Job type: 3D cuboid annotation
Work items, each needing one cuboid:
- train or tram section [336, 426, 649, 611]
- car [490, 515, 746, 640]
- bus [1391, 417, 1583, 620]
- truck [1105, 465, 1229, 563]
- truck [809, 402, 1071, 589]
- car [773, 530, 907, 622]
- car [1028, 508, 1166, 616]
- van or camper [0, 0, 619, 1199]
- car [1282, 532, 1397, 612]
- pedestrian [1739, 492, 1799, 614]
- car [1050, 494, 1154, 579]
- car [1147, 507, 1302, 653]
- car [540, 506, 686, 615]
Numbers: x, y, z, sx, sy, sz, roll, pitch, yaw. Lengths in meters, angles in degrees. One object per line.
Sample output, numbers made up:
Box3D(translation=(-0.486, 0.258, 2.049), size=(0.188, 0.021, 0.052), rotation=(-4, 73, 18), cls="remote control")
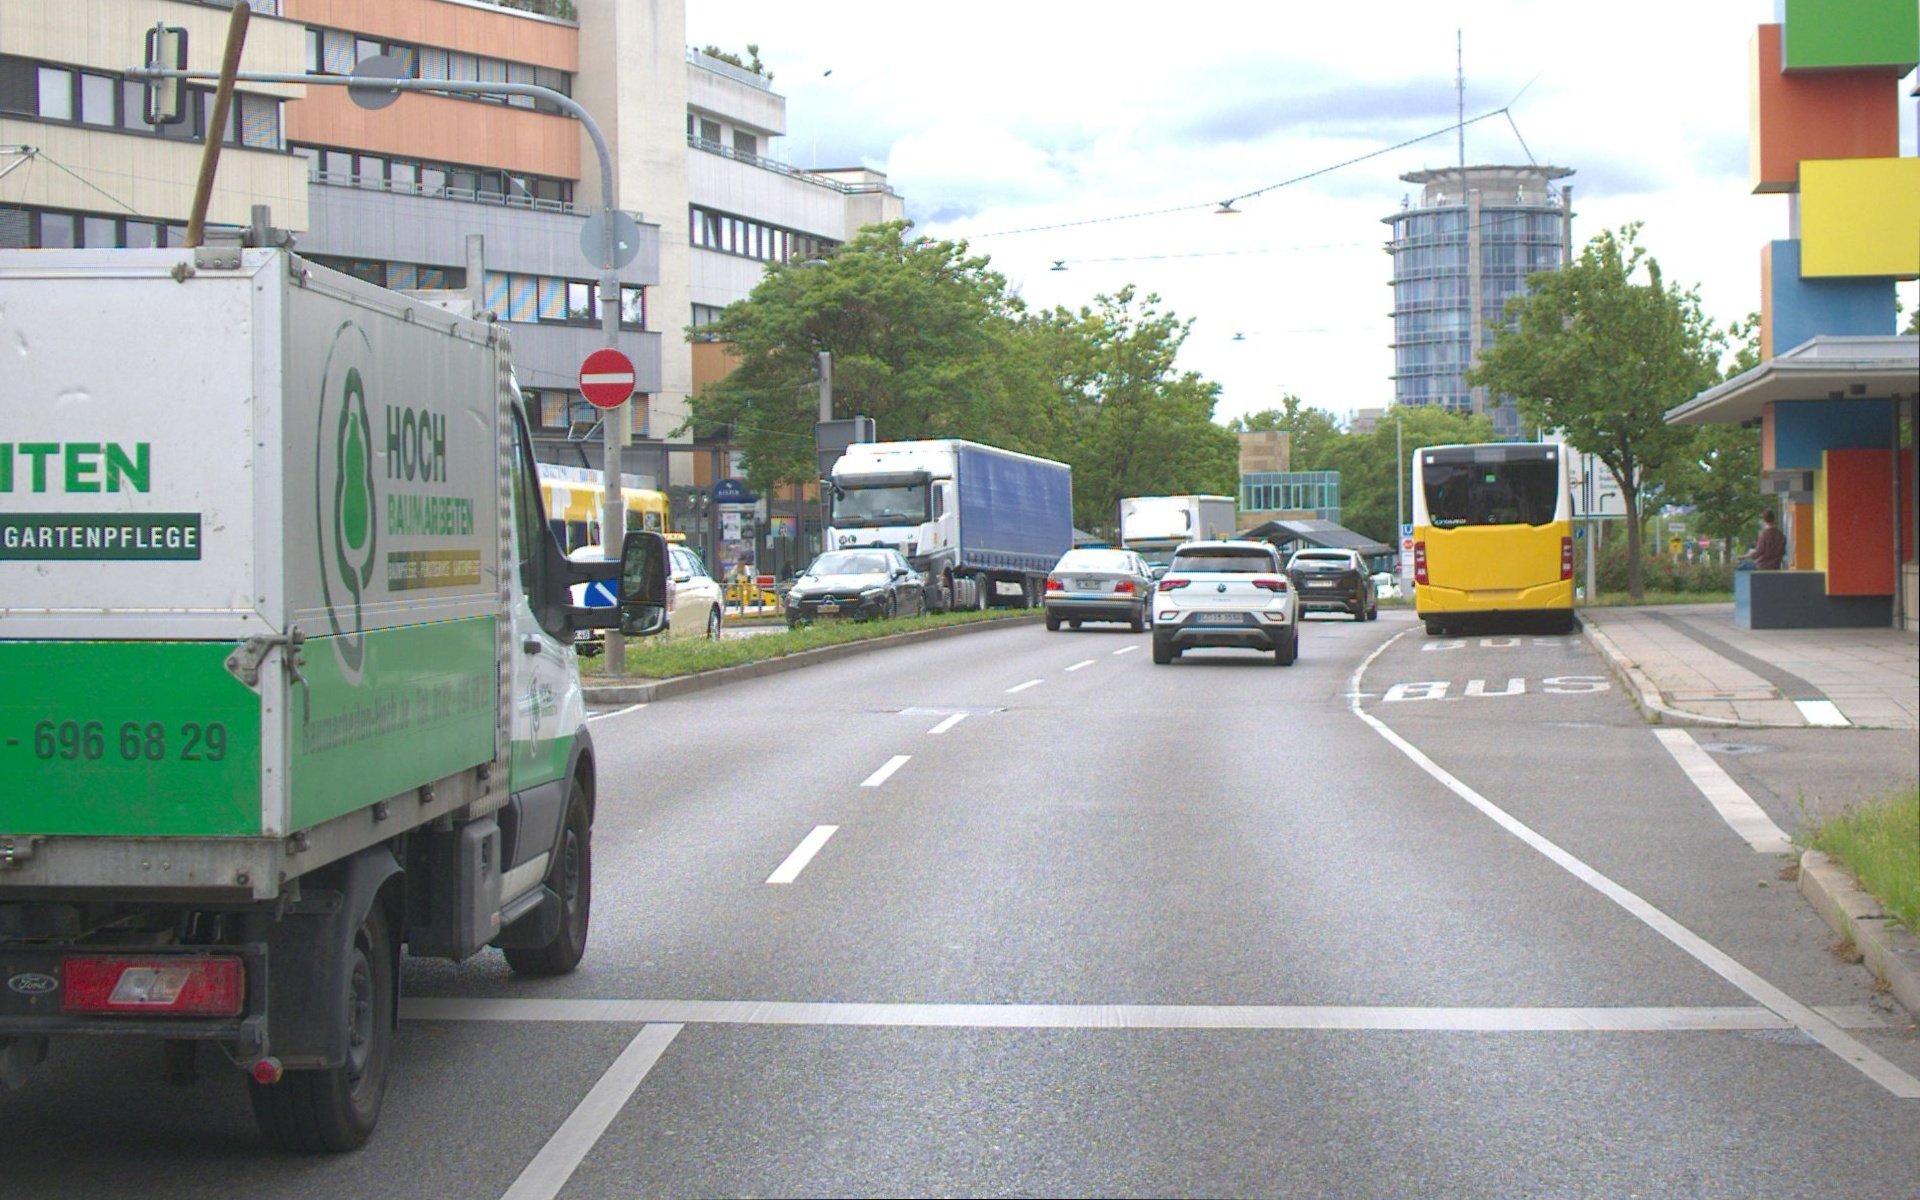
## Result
Box3D(translation=(-9.255, -1.658, 70.225), size=(2.560, 3.399, 13.078), rotation=(0, 1, 9), cls="train or tram section")
Box3D(translation=(-4.305, -0.333, 44.080), size=(1.966, 1.493, 4.773), rotation=(0, 2, 11), cls="car")
Box3D(translation=(9.236, -1.426, 59.396), size=(2.955, 3.179, 9.925), rotation=(0, 2, 11), cls="bus")
Box3D(translation=(6.773, -2.793, 111.092), size=(3.084, 3.018, 9.355), rotation=(0, 2, 9), cls="truck")
Box3D(translation=(-0.181, -2.519, 83.191), size=(2.955, 4.065, 16.595), rotation=(0, 2, 12), cls="truck")
Box3D(translation=(-2.015, -0.426, 58.579), size=(1.700, 1.511, 3.492), rotation=(0, 1, 8), cls="car")
Box3D(translation=(2.338, -0.669, 57.846), size=(1.700, 1.510, 3.735), rotation=(1, 5, 12), cls="car")
Box3D(translation=(-2.471, -0.028, 9.881), size=(2.343, 2.652, 5.966), rotation=(1, 3, 0), cls="van or camper")
Box3D(translation=(7.917, -0.611, 71.528), size=(1.701, 1.510, 3.491), rotation=(1, 3, 18), cls="car")
Box3D(translation=(12.071, -0.707, 51.319), size=(0.709, 1.809, 0.764), rotation=(0, 1, 0), cls="pedestrian")
Box3D(translation=(3.516, -1.573, 84.225), size=(1.994, 2.007, 5.195), rotation=(0, 1, 9), cls="car")
Box3D(translation=(3.451, -0.297, 44.337), size=(1.700, 1.542, 3.736), rotation=(3, 5, 8), cls="car")
Box3D(translation=(-5.727, -0.679, 57.116), size=(1.565, 1.747, 3.840), rotation=(0, 1, 7), cls="car")
